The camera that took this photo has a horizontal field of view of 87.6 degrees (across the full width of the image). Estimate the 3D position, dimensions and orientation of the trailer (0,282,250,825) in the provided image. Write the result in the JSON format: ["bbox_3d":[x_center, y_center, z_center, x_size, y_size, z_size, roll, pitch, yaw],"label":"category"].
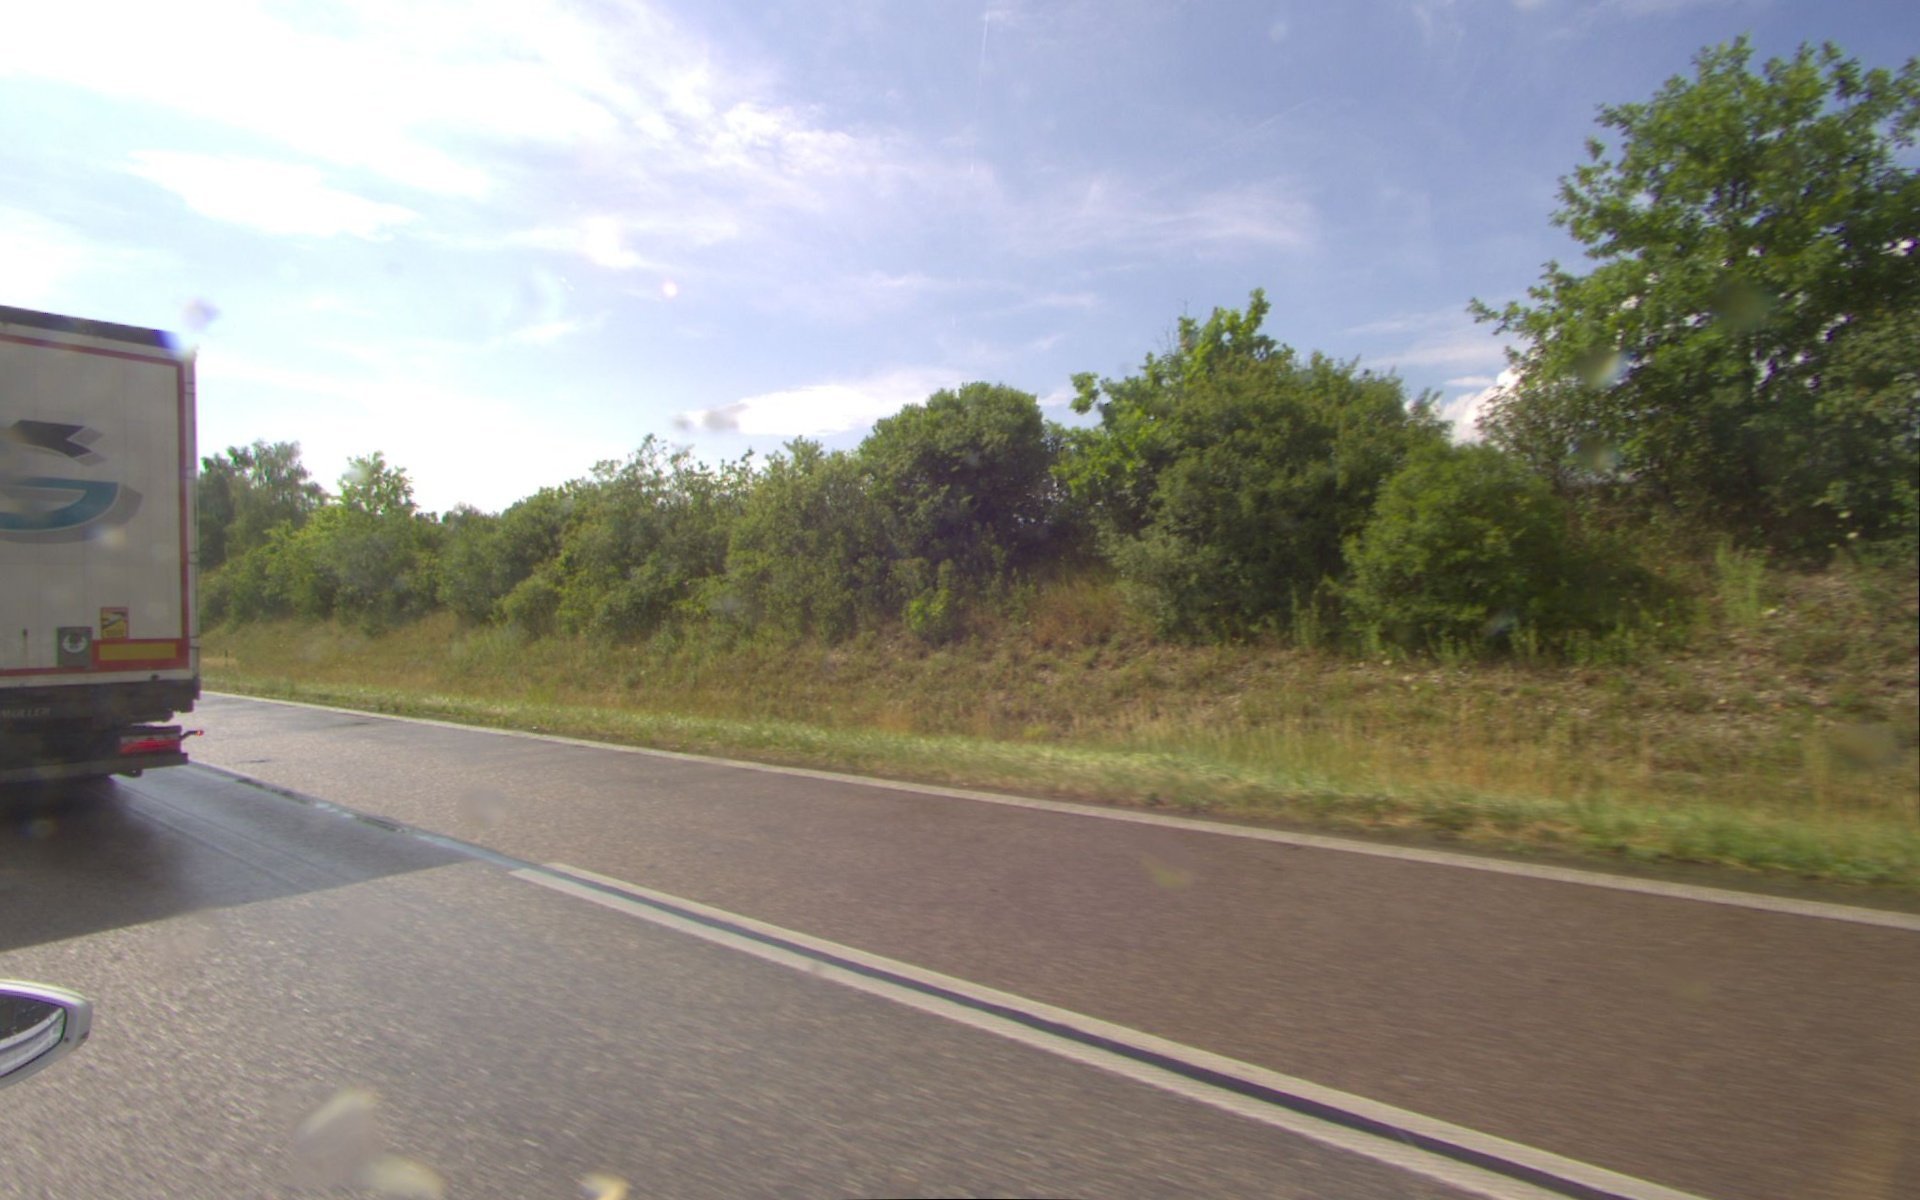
[{"bbox_3d":[-12.351,-0.190,11.738,13.964,3.948,3.269,-2,-2,41],"label":"trailer"}]

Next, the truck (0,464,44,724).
[{"bbox_3d":[-17.707,-0.050,16.363,6.322,3.941,3.270,-1,-2,40],"label":"truck"}]
